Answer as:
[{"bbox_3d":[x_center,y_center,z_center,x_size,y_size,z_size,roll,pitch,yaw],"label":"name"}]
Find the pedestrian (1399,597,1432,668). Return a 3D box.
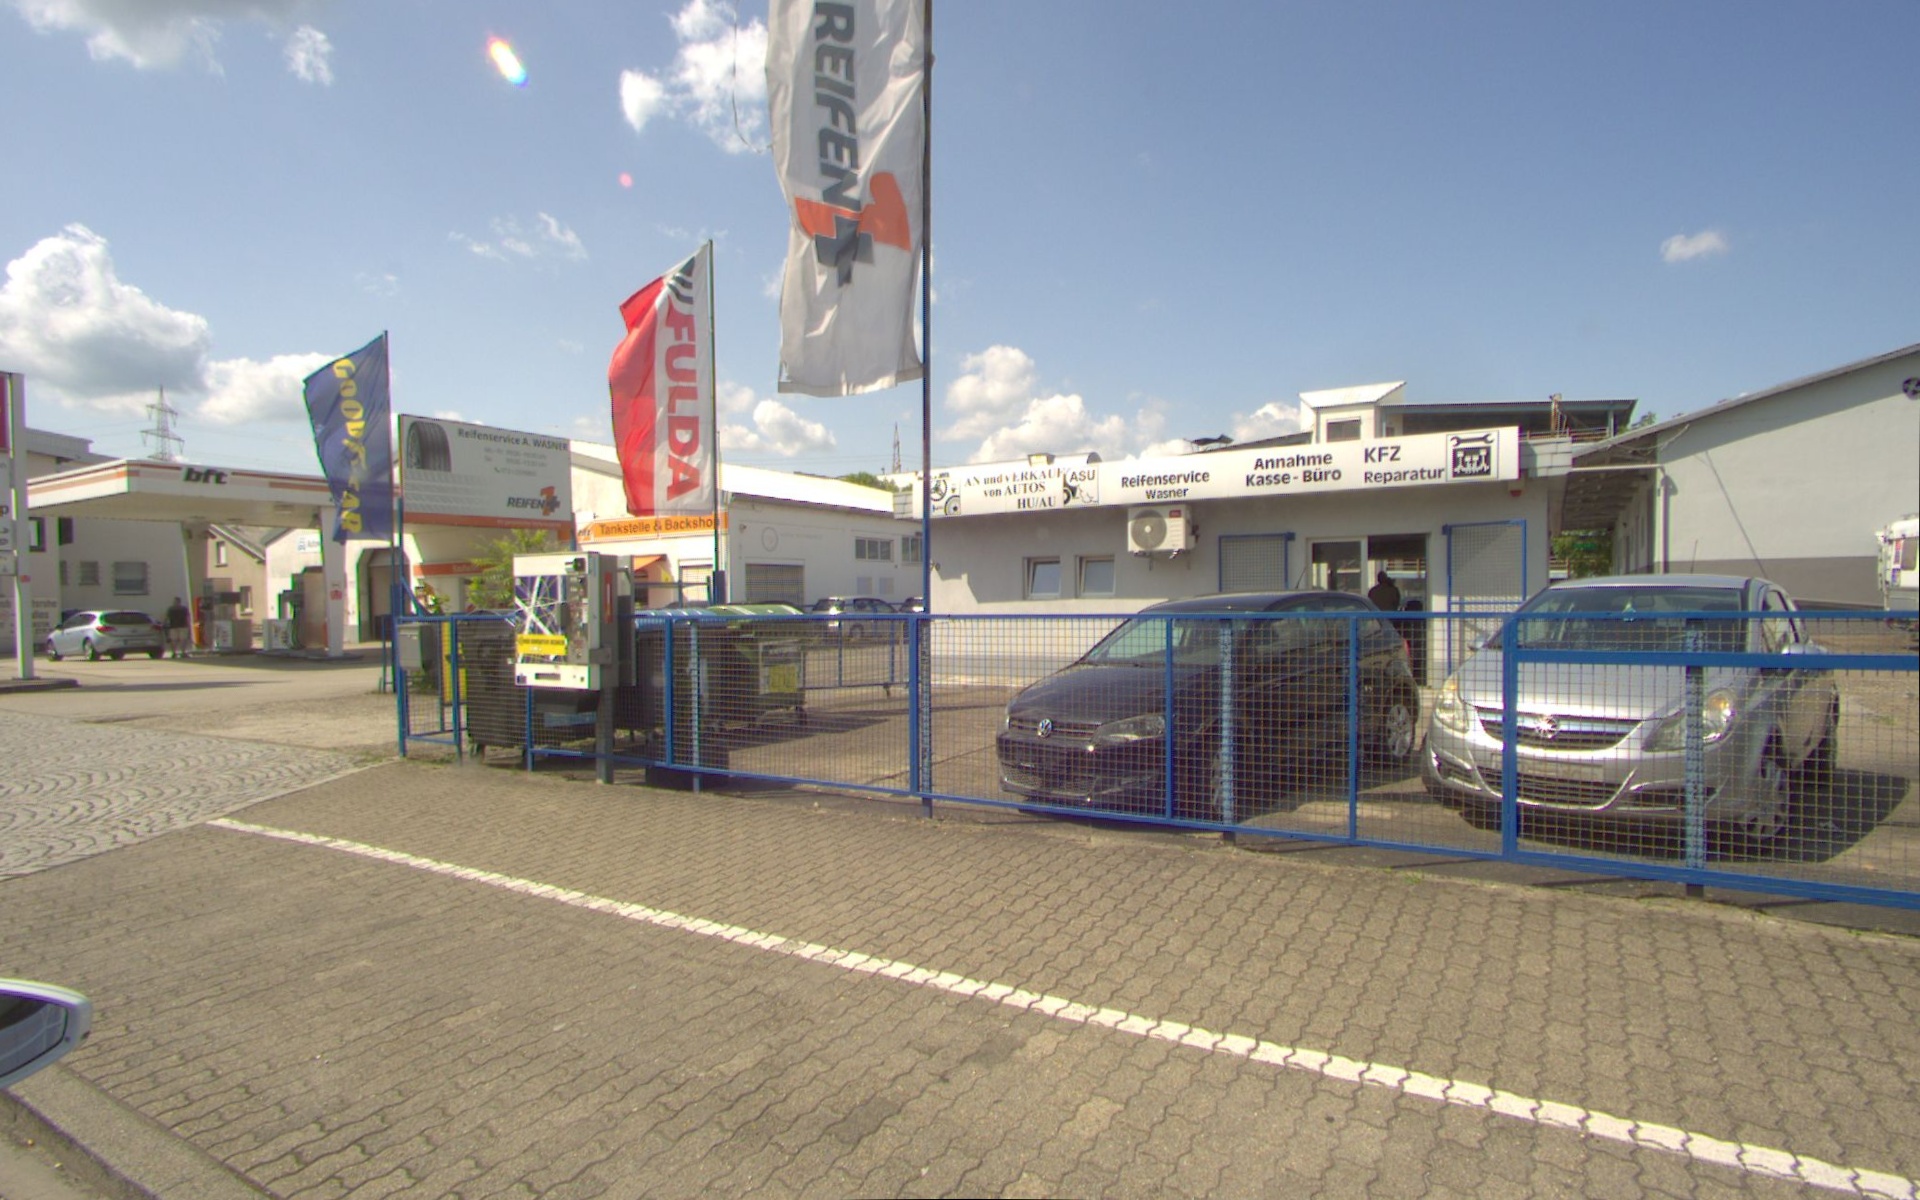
[{"bbox_3d":[7.981,0.560,17.523,0.480,1.229,0.499,0,1,30],"label":"pedestrian"}]

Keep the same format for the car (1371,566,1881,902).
[{"bbox_3d":[4.504,0.586,6.509,4.104,1.499,1.787,-1,0,-42],"label":"car"}]

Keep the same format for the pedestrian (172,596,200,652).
[{"bbox_3d":[-23.738,0.728,30.712,0.628,1.705,0.618,-1,1,-36],"label":"pedestrian"}]

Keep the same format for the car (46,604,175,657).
[{"bbox_3d":[-25.833,0.888,30.431,3.950,1.499,1.829,-1,1,31],"label":"car"}]

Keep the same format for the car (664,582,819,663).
[{"bbox_3d":[-5.946,0.569,27.633,1.971,2.040,3.979,0,0,32],"label":"car"}]

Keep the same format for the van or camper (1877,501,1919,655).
[{"bbox_3d":[21.349,-0.462,19.319,4.983,3.002,2.276,0,1,31],"label":"van or camper"}]

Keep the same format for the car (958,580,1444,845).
[{"bbox_3d":[2.017,0.625,7.646,3.962,1.499,1.705,-1,1,-43],"label":"car"}]

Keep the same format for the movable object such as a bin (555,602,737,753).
[{"bbox_3d":[-3.369,0.774,10.782,1.434,1.473,1.224,0,1,31],"label":"movable object such as a bin"}]

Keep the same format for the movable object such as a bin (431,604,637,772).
[{"bbox_3d":[-4.130,0.783,9.742,1.434,1.473,1.224,0,1,31],"label":"movable object such as a bin"}]

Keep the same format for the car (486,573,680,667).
[{"bbox_3d":[-8.912,0.434,23.979,1.971,2.040,3.979,0,0,32],"label":"car"}]

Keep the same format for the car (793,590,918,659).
[{"bbox_3d":[-3.263,0.725,31.985,1.971,2.040,3.979,0,0,32],"label":"car"}]

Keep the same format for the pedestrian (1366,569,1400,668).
[{"bbox_3d":[7.428,0.323,17.581,0.480,1.710,0.499,0,1,30],"label":"pedestrian"}]

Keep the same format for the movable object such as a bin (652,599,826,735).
[{"bbox_3d":[-2.604,0.741,11.897,1.433,1.473,1.427,0,1,31],"label":"movable object such as a bin"}]

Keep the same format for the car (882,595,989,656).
[{"bbox_3d":[-0.803,0.860,35.874,1.971,2.040,3.979,0,0,32],"label":"car"}]
